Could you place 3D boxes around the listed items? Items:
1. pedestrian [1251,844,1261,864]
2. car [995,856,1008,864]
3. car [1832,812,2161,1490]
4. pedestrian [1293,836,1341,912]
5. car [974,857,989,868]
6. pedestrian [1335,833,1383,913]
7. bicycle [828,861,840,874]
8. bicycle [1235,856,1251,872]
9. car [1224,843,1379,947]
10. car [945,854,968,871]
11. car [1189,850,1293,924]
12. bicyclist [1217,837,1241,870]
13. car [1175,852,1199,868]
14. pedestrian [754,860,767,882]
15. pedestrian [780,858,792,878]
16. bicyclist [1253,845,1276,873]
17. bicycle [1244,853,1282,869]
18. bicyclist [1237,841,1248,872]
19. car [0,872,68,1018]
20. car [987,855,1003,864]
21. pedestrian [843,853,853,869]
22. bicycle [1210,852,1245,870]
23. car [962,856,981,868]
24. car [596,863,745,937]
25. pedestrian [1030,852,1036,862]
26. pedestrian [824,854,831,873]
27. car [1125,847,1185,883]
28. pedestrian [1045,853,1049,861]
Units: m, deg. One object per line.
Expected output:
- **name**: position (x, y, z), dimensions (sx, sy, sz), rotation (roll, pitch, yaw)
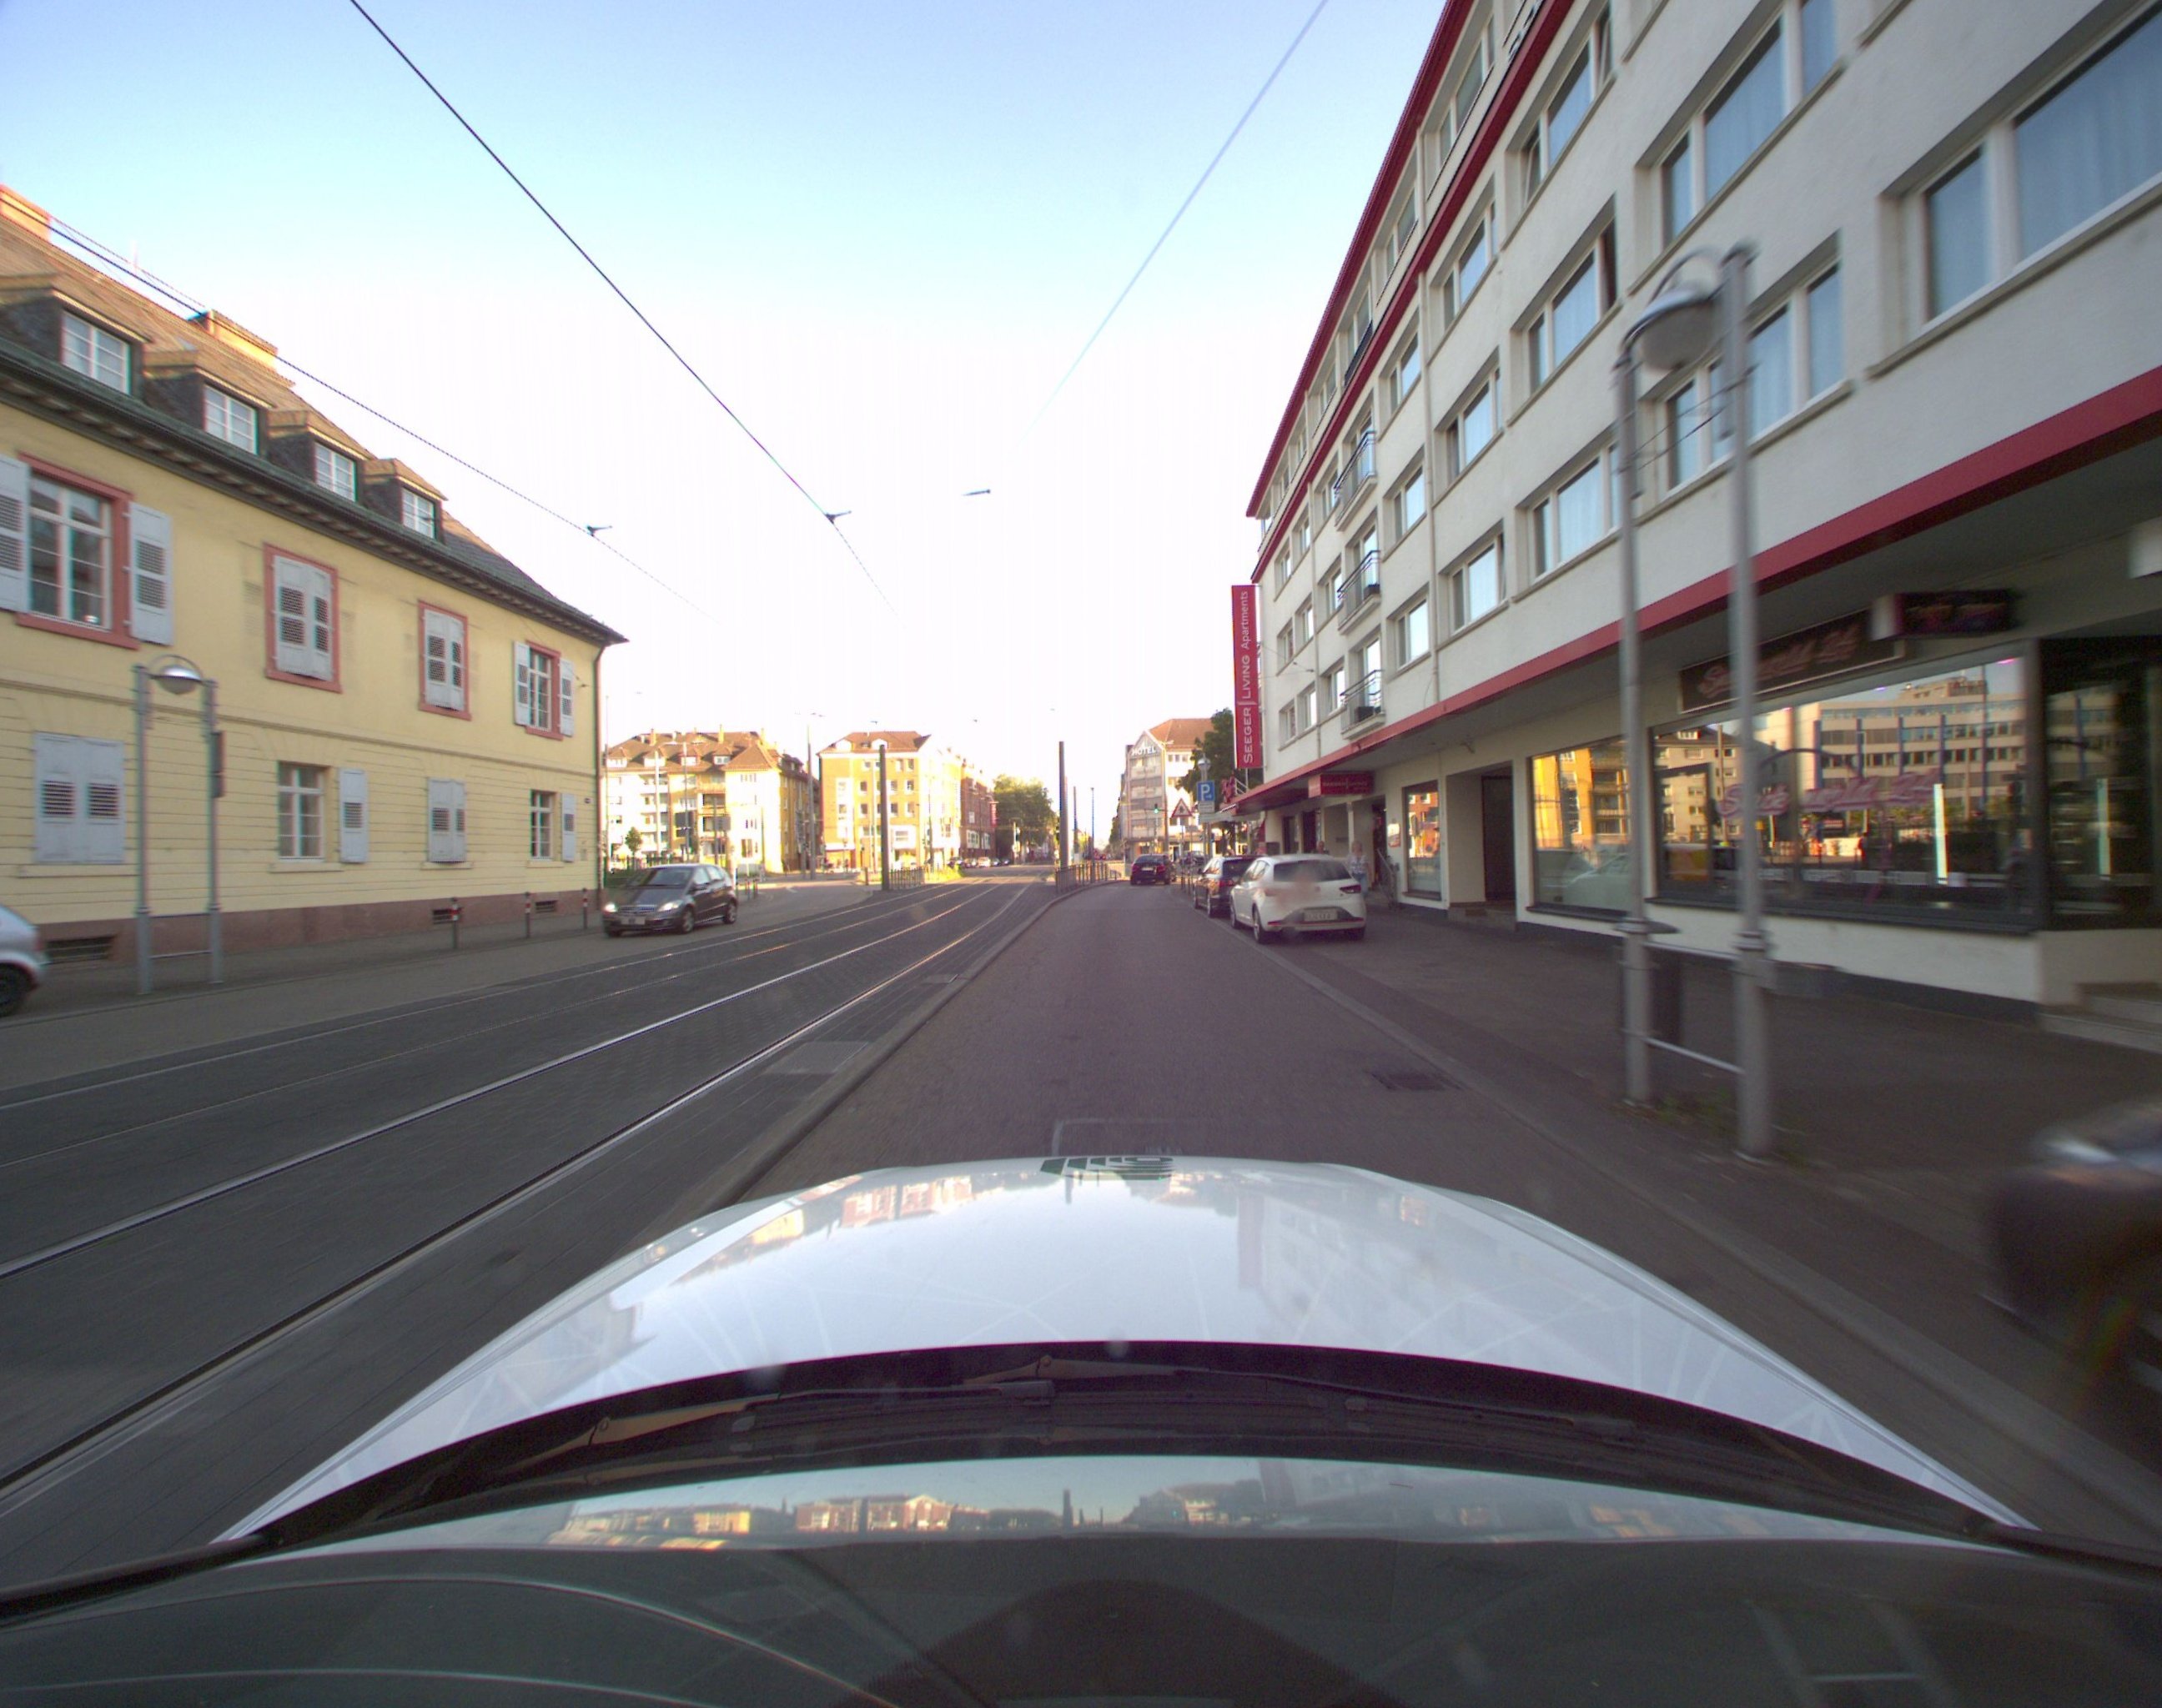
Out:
- **pedestrian**: position (14.740, 0.006, 68.481), dimensions (0.719, 1.667, 0.672), rotation (-1, 0, 5)
- **car**: position (-14.847, 1.113, 152.642), dimensions (1.987, 1.585, 4.477), rotation (-2, 0, -1)
- **car**: position (3.201, 0.636, 0.411), dimensions (1.728, 1.512, 4.306), rotation (-3, 0, 2)
- **pedestrian**: position (5.546, 0.470, 19.168), dimensions (0.824, 1.718, 0.843), rotation (-3, -1, 2)
- **car**: position (-15.057, 1.237, 123.285), dimensions (1.989, 1.585, 4.108), rotation (-2, 0, -3)
- **pedestrian**: position (6.305, 0.424, 18.495), dimensions (0.726, 1.741, 0.863), rotation (-3, 0, 2)
- **bicycle**: position (-25.675, 1.416, 84.642), dimensions (0.616, 1.325, 2.014), rotation (0, 0, -2)
- **bicycle**: position (9.886, 0.596, 49.776), dimensions (0.464, 0.970, 1.796), rotation (-1, 0, -6)
- **car**: position (3.773, 0.631, 14.650), dimensions (1.778, 1.512, 4.054), rotation (-3, 0, 2)
- **car**: position (-15.207, 1.032, 99.712), dimensions (1.988, 1.901, 4.810), rotation (-2, 0, -1)
- **car**: position (3.780, 0.704, 19.947), dimensions (1.728, 1.512, 4.688), rotation (-3, 0, 2)
- **bicyclist**: position (8.847, -0.016, 48.619), dimensions (0.844, 1.917, 1.103), rotation (-1, 0, -35)
- **car**: position (11.085, 0.584, 84.954), dimensions (1.979, 1.552, 4.017), rotation (-2, 0, 15)
- **pedestrian**: position (-27.379, 1.462, 69.569), dimensions (0.885, 1.868, 0.970), rotation (-2, 0, -19)
- **pedestrian**: position (-30.022, 1.409, 82.900), dimensions (1.099, 1.944, 1.019), rotation (-2, 0, -18)
- **bicyclist**: position (10.721, 0.284, 47.609), dimensions (1.101, 1.623, 0.845), rotation (-2, 0, 25)
- **bicycle**: position (10.662, 0.397, 47.639), dimensions (1.988, 0.881, 0.845), rotation (-1, -1, 25)
- **bicyclist**: position (9.876, 0.151, 49.754), dimensions (0.464, 1.830, 0.558), rotation (-1, 0, -7)
- **car**: position (-13.103, 1.051, 7.650), dimensions (1.805, 1.617, 4.217), rotation (0, 1, 2)
- **car**: position (-14.723, 0.909, 139.871), dimensions (1.659, 1.448, 4.212), rotation (-2, 0, 9)
- **pedestrian**: position (-26.870, 0.792, 94.009), dimensions (0.939, 1.868, 0.836), rotation (0, 0, -8)
- **bicycle**: position (8.766, 0.410, 48.748), dimensions (0.844, 1.020, 2.055), rotation (-1, 0, -35)
- **car**: position (-14.683, 1.045, 109.535), dimensions (1.987, 1.585, 4.585), rotation (-2, 0, -1)
- **car**: position (-9.684, 1.013, 19.596), dimensions (1.732, 1.512, 4.028), rotation (-2, 0, -4)
- **pedestrian**: position (-9.125, 0.574, 154.602), dimensions (0.984, 2.014, 0.726), rotation (0, 0, 0)
- **pedestrian**: position (-26.227, 0.984, 84.273), dimensions (0.501, 1.868, 0.562), rotation (0, 0, -4)
- **car**: position (3.645, 0.518, 39.442), dimensions (1.978, 1.585, 4.019), rotation (-2, 0, 18)
- **pedestrian**: position (-7.509, 0.668, 179.349), dimensions (0.720, 1.681, 0.992), rotation (-2, 0, 4)
